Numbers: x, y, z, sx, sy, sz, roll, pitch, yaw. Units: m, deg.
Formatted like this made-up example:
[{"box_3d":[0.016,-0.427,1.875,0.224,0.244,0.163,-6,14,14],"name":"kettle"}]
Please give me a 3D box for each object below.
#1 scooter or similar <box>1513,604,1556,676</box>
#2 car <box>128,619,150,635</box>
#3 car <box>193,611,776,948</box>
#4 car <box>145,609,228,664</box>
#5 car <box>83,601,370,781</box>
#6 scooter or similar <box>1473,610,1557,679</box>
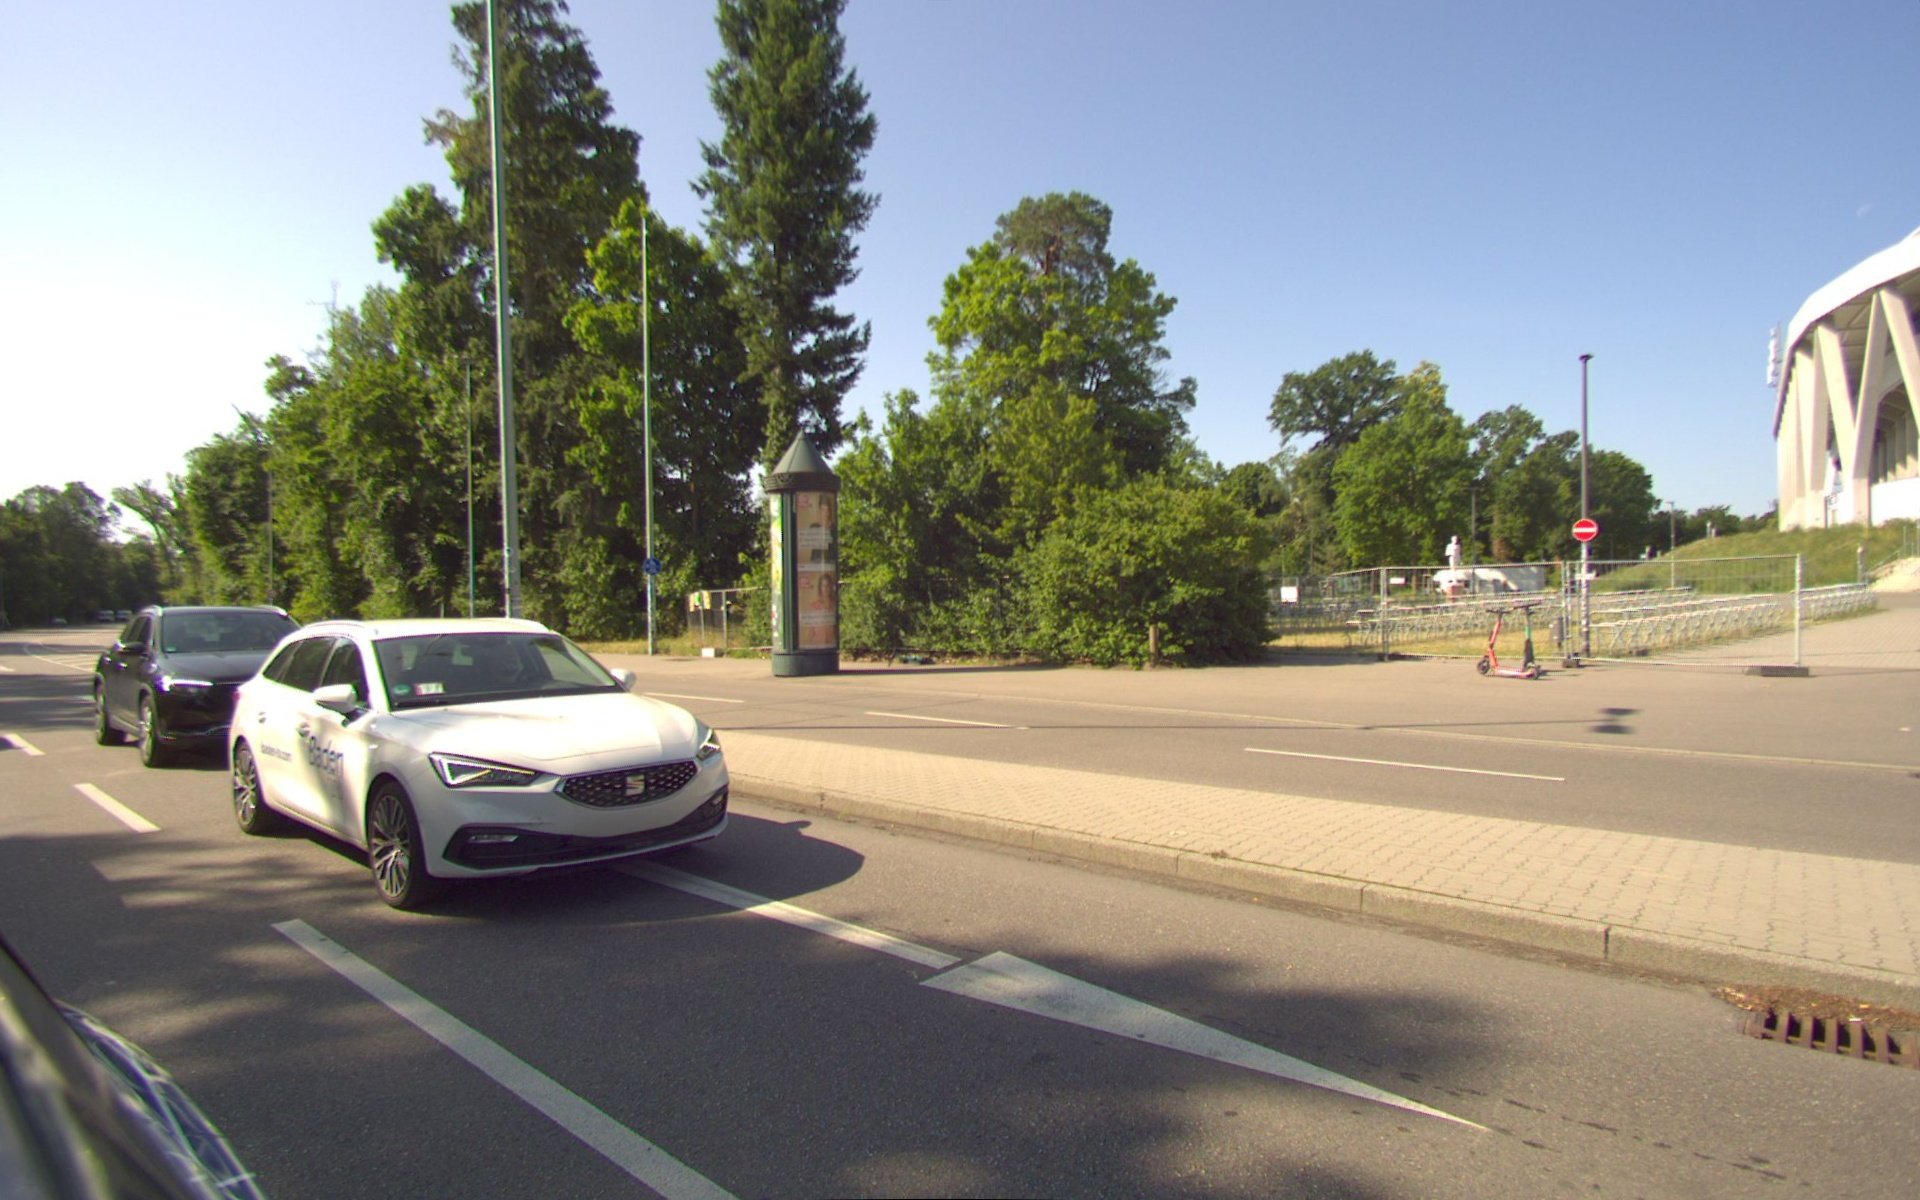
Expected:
[{"box_3d":[10.297,0.702,18.164,0.392,1.231,1.076,-1,0,16],"name":"scooter or similar"},{"box_3d":[-89.006,2.910,109.719,1.828,1.630,4.007,-1,0,-39],"name":"car"},{"box_3d":[-3.350,0.823,6.562,4.718,1.437,1.707,-1,-1,42],"name":"car"},{"box_3d":[-28.789,1.325,37.642,4.001,1.874,1.851,-1,0,44],"name":"car"},{"box_3d":[-8.263,0.886,11.241,4.273,1.608,1.785,-2,-1,43],"name":"car"},{"box_3d":[9.658,0.769,17.637,0.390,1.154,1.197,-1,0,-44],"name":"scooter or similar"}]
